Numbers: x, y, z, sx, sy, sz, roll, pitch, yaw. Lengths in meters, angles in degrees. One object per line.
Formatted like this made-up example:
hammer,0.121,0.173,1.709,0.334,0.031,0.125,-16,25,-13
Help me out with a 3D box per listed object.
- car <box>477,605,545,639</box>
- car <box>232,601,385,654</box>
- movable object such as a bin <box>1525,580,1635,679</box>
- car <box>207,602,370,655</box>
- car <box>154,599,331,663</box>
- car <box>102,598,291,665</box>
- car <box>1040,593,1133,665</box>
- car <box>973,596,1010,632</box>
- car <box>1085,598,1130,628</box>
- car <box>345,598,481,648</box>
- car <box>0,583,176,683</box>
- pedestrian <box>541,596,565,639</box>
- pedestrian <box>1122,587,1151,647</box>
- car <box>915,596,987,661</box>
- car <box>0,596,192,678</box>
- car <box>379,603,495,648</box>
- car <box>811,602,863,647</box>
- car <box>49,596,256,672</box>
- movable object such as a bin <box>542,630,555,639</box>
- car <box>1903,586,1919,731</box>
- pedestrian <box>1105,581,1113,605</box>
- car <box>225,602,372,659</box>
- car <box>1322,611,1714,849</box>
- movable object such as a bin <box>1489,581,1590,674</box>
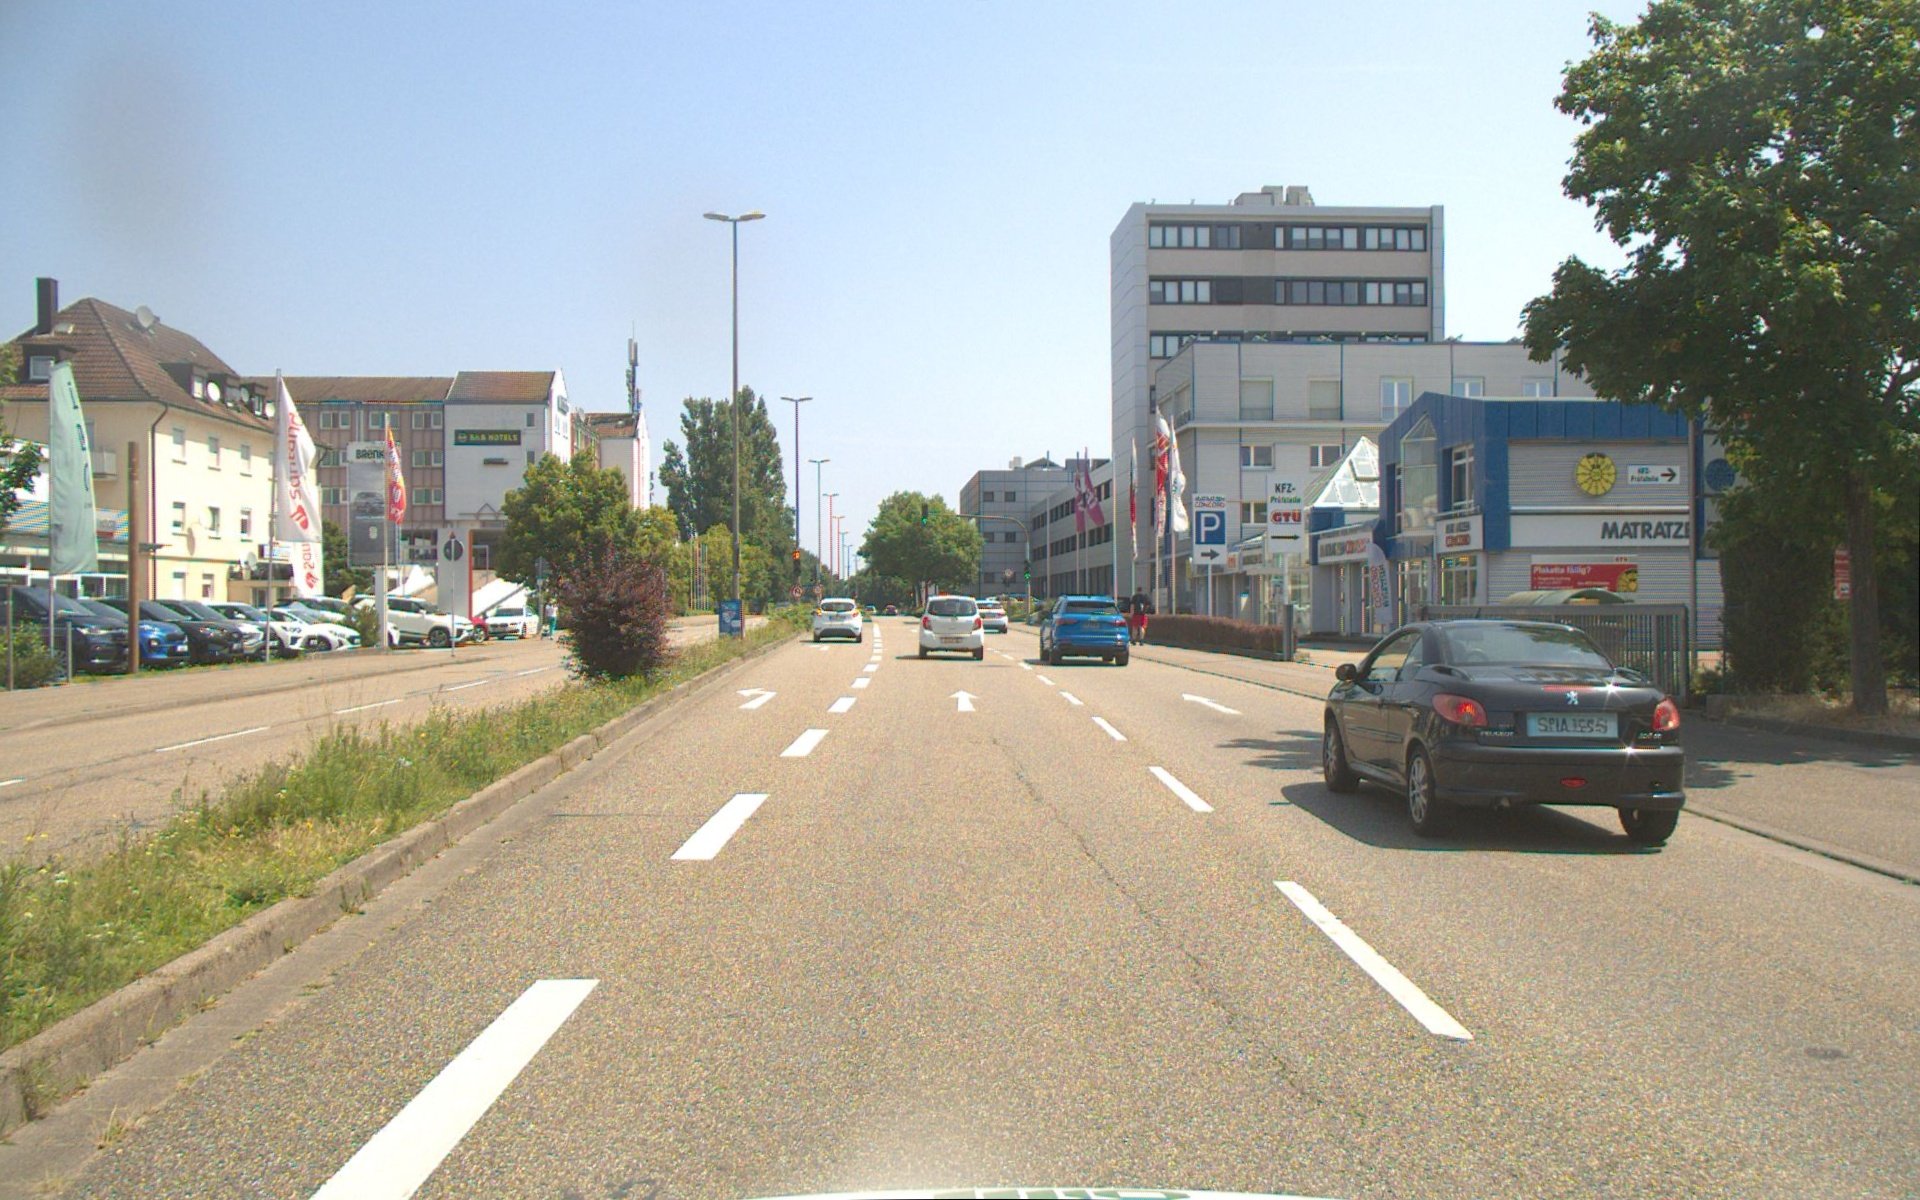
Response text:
car,-19.858,0.946,73.315,1.739,1.435,4.758,-1,0,0
car,-19.510,0.798,49.675,3.909,1.492,1.758,-1,0,-5
movable object such as a bin,9.697,0.446,25.934,1.108,1.496,1.489,-1,0,-3
car,-19.210,0.810,47.450,3.909,1.419,1.858,-1,0,-5
car,-19.304,0.812,44.635,3.909,1.636,1.923,-1,0,-5
car,-19.125,0.771,41.564,3.909,1.595,1.758,-1,0,-5
car,2.956,0.656,39.286,1.791,1.608,3.604,-1,0,-2
car,1.359,0.589,73.114,1.527,1.546,3.605,-1,0,-1
car,7.921,0.676,88.930,1.807,1.558,4.194,1,0,-3
car,-20.102,0.839,60.922,4.457,1.739,1.758,-1,0,-5
car,-18.213,0.658,33.288,3.909,1.914,1.998,-1,0,-5
pedestrian,-16.822,0.715,68.312,0.725,1.777,1.033,-1,0,-1
pedestrian,5.557,0.529,52.133,0.769,1.879,0.936,-1,0,-1
car,-0.262,0.676,41.740,1.713,1.546,3.744,0,0,-2
car,-18.812,0.769,35.262,3.909,1.636,2.087,-1,0,-5
car,-20.557,0.995,65.128,1.802,1.671,4.164,-1,0,35
car,-4.165,0.807,56.522,1.655,1.459,3.709,-1,0,-3
car,-18.669,0.767,38.374,3.909,1.636,1.758,-1,0,-5
movable object such as a bin,-16.886,1.422,67.875,0.408,0.378,0.506,-1,0,-2
car,10.931,0.558,15.042,1.758,1.492,4.633,-3,0,-4
pedestrian,10.430,-0.503,115.753,0.580,1.663,0.523,-1,0,5
car,-20.698,0.938,51.800,3.957,1.652,1.737,-1,0,-37
car,3.736,0.791,11.712,1.593,1.388,3.605,0,0,1
movable object such as a bin,9.626,0.445,27.538,1.108,1.496,1.489,-1,0,-3
